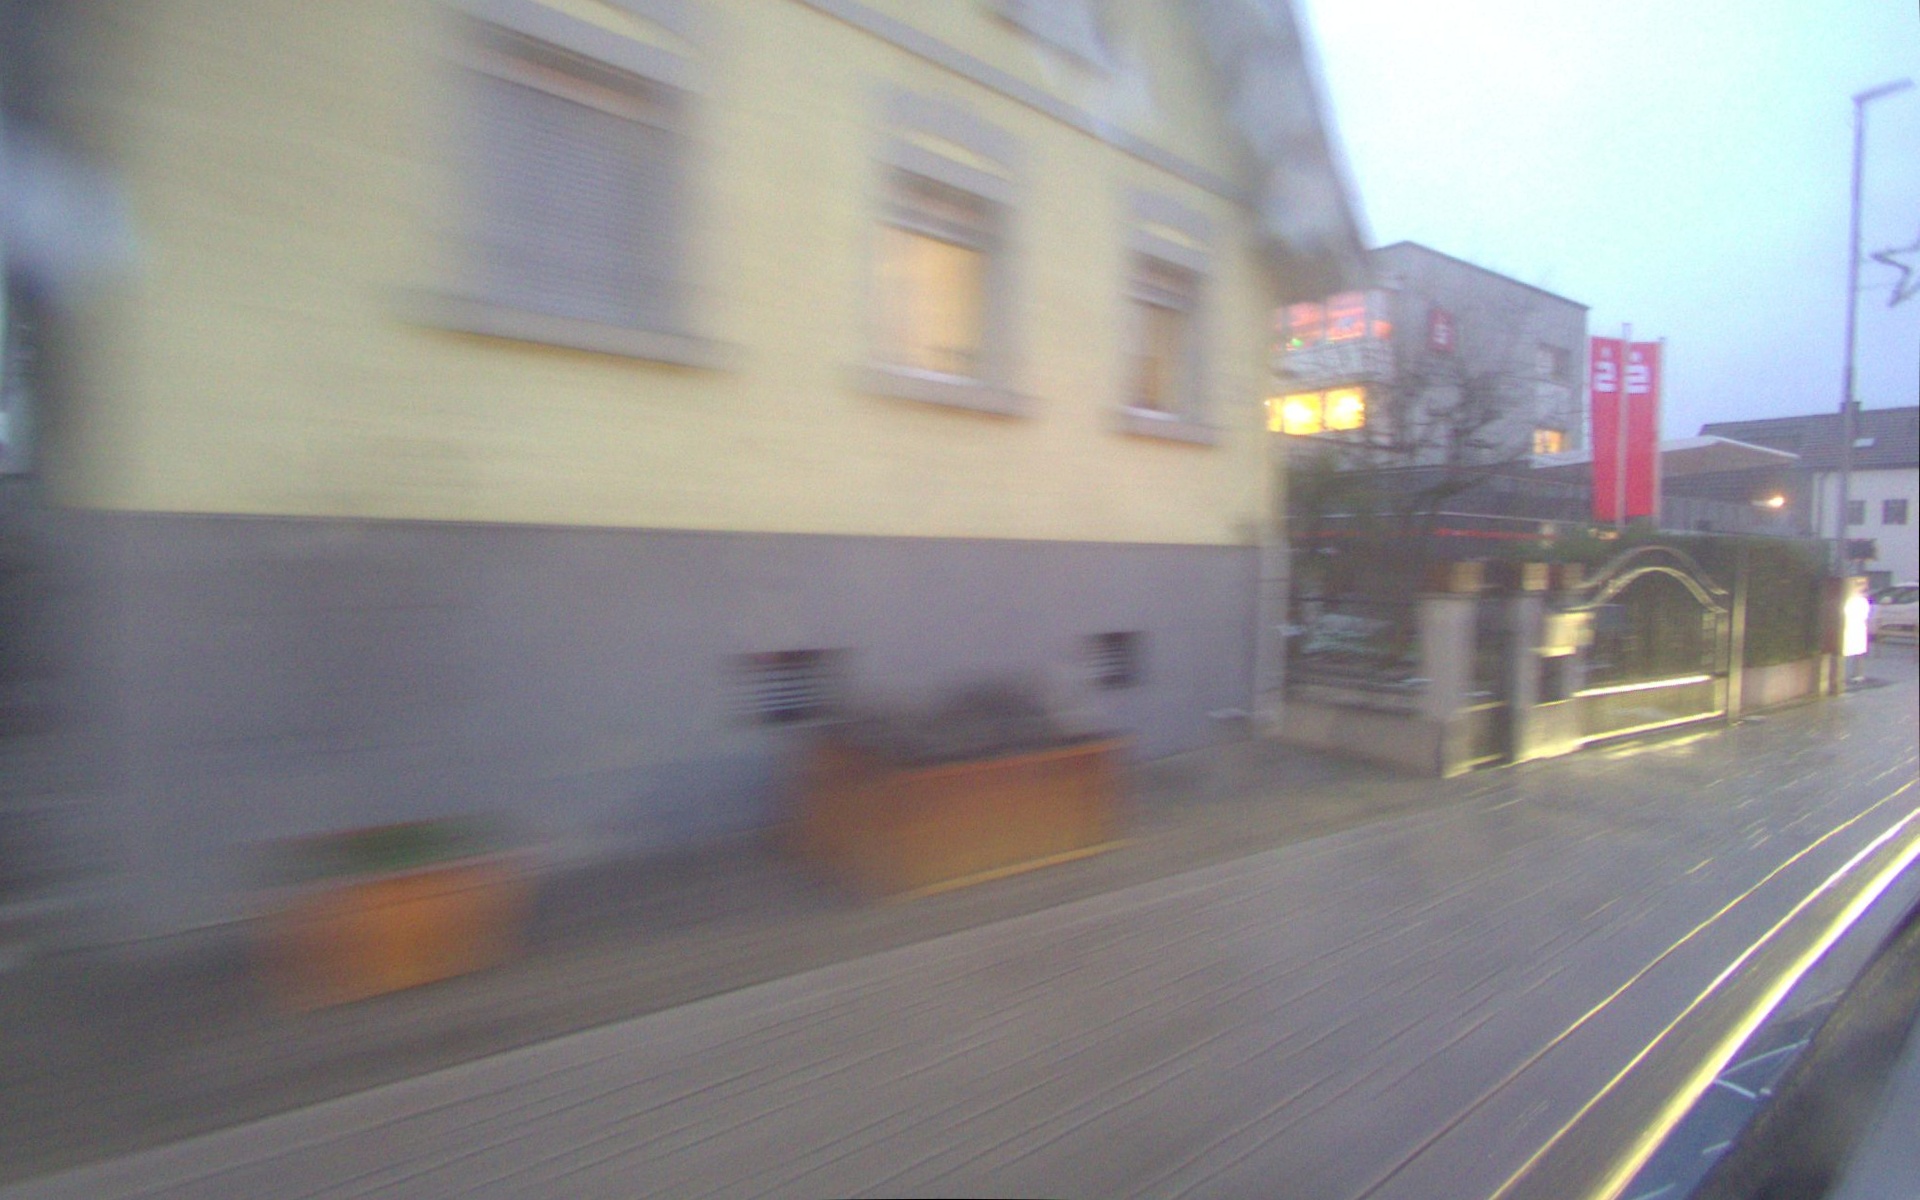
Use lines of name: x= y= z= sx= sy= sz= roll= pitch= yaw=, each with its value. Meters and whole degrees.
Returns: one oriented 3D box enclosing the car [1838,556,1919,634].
car: x=27.308 y=-0.093 z=27.941 sx=1.959 sy=2.074 sz=4.112 roll=0 pitch=3 yaw=-28
